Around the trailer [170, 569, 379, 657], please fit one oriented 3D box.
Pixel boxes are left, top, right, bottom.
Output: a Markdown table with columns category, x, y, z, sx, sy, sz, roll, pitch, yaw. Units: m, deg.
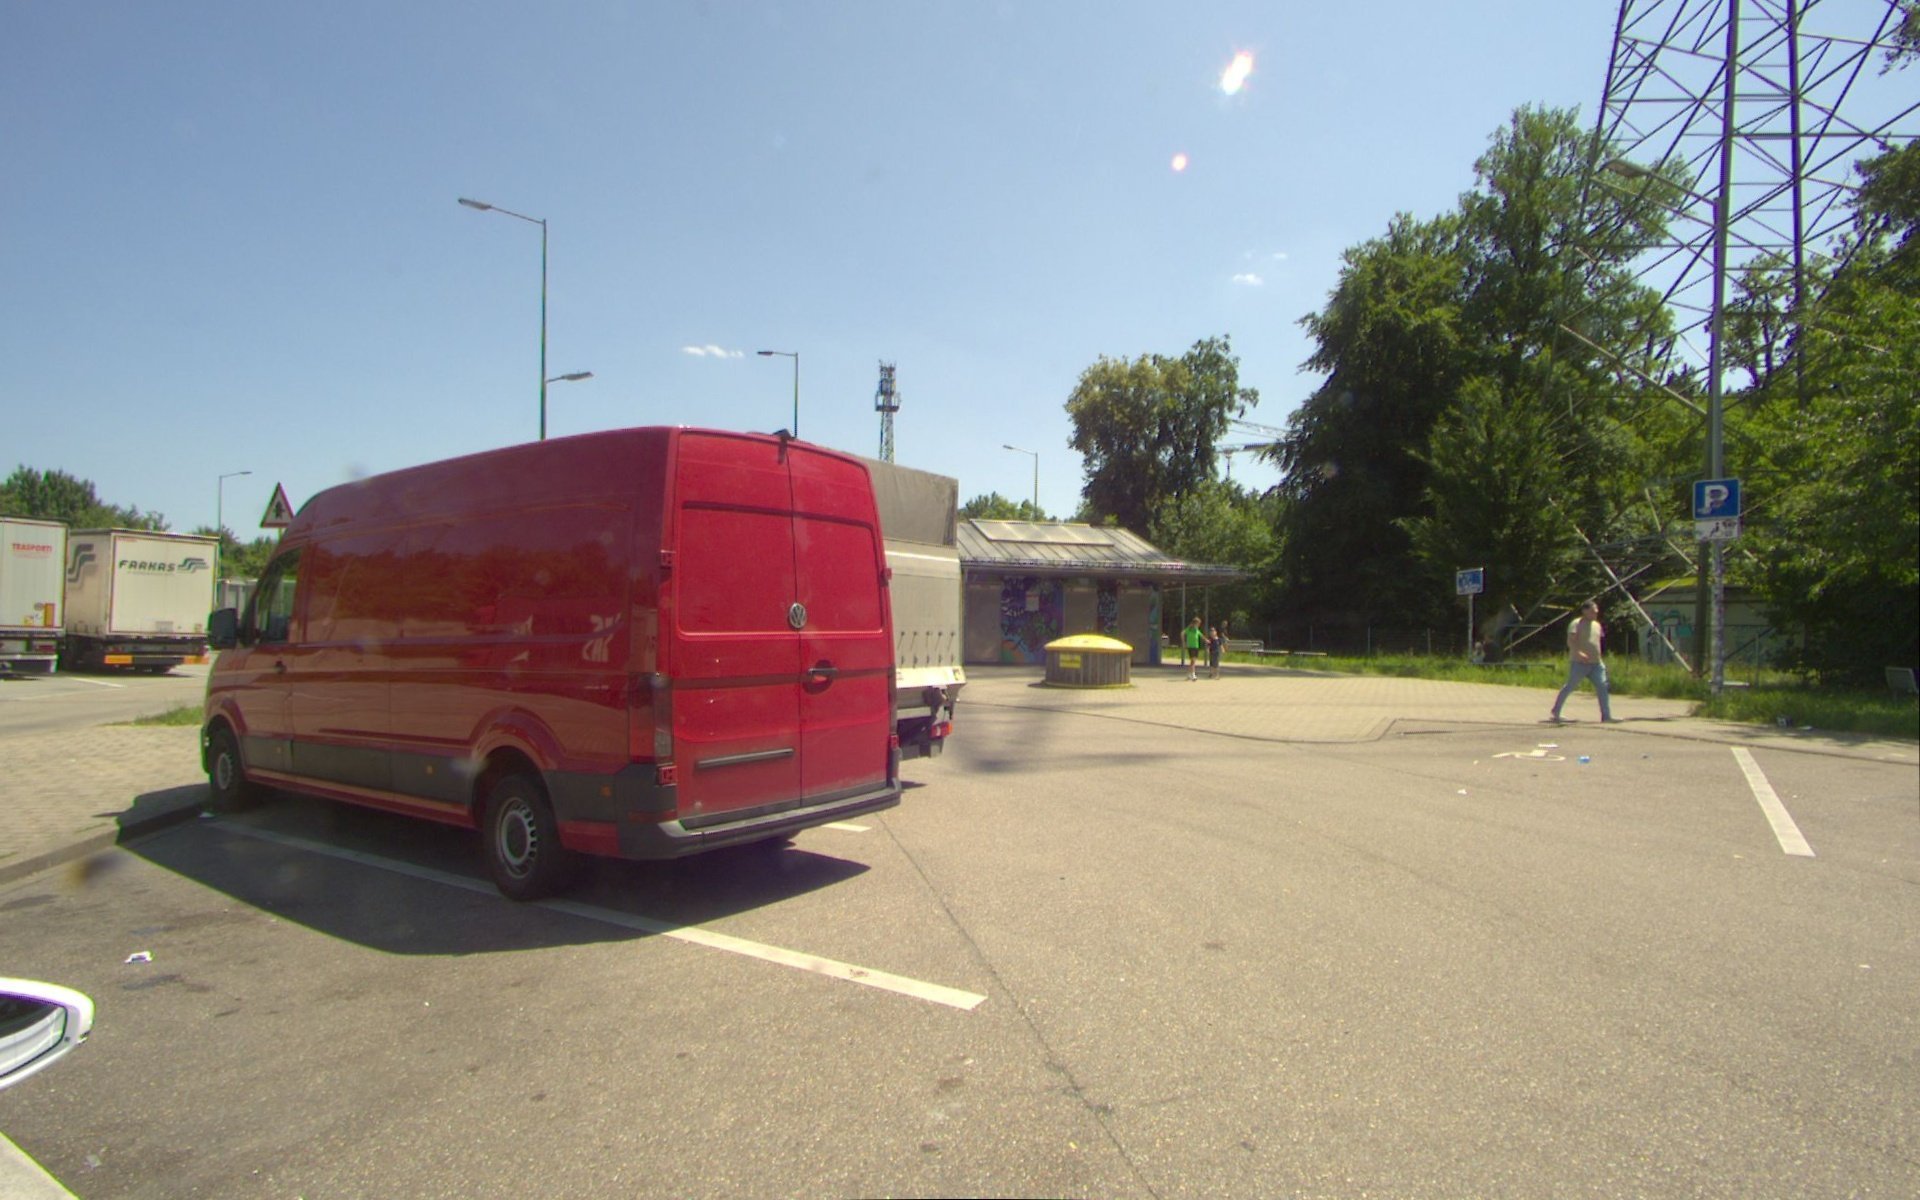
| category | x | y | z | sx | sy | sz | roll | pitch | yaw |
| --- | --- | --- | --- | --- | --- | --- | --- | --- | --- |
| trailer | -32.491 | 0.493 | 47.089 | 13.561 | 3.646 | 2.854 | 1 | -2 | 32 |

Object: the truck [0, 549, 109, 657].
| category | x | y | z | sx | sy | sz | roll | pitch | yaw |
| --- | --- | --- | --- | --- | --- | --- | --- | --- | --- |
| truck | -32.480 | 0.104 | 34.666 | 5.887 | 3.406 | 2.862 | 1 | -2 | 32 |

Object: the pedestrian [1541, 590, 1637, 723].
| category | x | y | z | sx | sy | sz | roll | pitch | yaw |
| --- | --- | --- | --- | --- | --- | --- | --- | --- | --- |
| pedestrian | 9.485 | 0.842 | 15.124 | 0.799 | 1.929 | 0.920 | 0 | -1 | -15 |

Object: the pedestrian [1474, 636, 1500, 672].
| category | x | y | z | sx | sy | sz | roll | pitch | yaw |
| --- | --- | --- | --- | --- | --- | --- | --- | --- | --- |
| pedestrian | 14.636 | 1.496 | 27.824 | 0.439 | 0.987 | 0.460 | 0 | -1 | -19 |

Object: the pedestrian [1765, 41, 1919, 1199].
| category | x | y | z | sx | sy | sz | roll | pitch | yaw |
| --- | --- | --- | --- | --- | --- | --- | --- | --- | --- |
| pedestrian | 1.013 | 0.546 | 0.422 | 0.800 | 1.929 | 0.918 | -1 | -1 | 23 |

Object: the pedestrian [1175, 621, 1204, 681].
| category | x | y | z | sx | sy | sz | roll | pitch | yaw |
| --- | --- | --- | --- | --- | --- | --- | --- | --- | --- |
| pedestrian | 5.394 | 1.190 | 23.568 | 0.532 | 1.392 | 0.583 | 0 | -1 | 0 |

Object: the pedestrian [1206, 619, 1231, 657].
| category | x | y | z | sx | sy | sz | roll | pitch | yaw |
| --- | --- | --- | --- | --- | --- | --- | --- | --- | --- |
| pedestrian | 11.293 | 1.644 | 43.700 | 0.803 | 1.639 | 0.916 | -1 | -2 | 34 |

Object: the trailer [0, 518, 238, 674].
| category | x | y | z | sx | sy | sz | roll | pitch | yaw |
| --- | --- | --- | --- | --- | --- | --- | --- | --- | --- |
| trailer | -27.623 | -0.162 | 31.601 | 13.561 | 4.162 | 2.854 | 1 | -2 | 32 |

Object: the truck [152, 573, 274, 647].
| category | x | y | z | sx | sy | sz | roll | pitch | yaw |
| --- | --- | --- | --- | --- | --- | --- | --- | --- | --- |
| truck | -37.564 | 0.484 | 50.310 | 5.887 | 3.406 | 2.862 | 1 | -2 | 32 |

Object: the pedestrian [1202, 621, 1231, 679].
| category | x | y | z | sx | sy | sz | roll | pitch | yaw |
| --- | --- | --- | --- | --- | --- | --- | --- | --- | --- |
| pedestrian | 6.192 | 1.210 | 24.190 | 0.532 | 1.392 | 0.583 | 0 | -1 | 0 |

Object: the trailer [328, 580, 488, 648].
| category | x | y | z | sx | sy | sz | roll | pitch | yaw |
| --- | --- | --- | --- | --- | --- | --- | --- | --- | --- |
| trailer | -36.190 | 0.857 | 65.326 | 13.561 | 3.955 | 2.854 | 1 | -2 | 32 |

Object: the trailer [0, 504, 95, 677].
| category | x | y | z | sx | sy | sz | roll | pitch | yaw |
| --- | --- | --- | --- | --- | --- | --- | --- | --- | --- |
| trailer | -28.695 | -0.336 | 28.013 | 13.561 | 4.162 | 2.854 | 1 | -2 | 32 |

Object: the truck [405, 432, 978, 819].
| category | x | y | z | sx | sy | sz | roll | pitch | yaw |
| --- | --- | --- | --- | --- | --- | --- | --- | --- | --- |
| truck | -3.088 | 0.275 | 10.522 | 6.371 | 2.944 | 2.411 | -1 | -2 | 37 |

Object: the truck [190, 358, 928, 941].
| category | x | y | z | sx | sy | sz | roll | pitch | yaw |
| --- | --- | --- | --- | --- | --- | --- | --- | --- | --- |
| truck | -3.337 | 0.303 | 7.338 | 6.371 | 2.685 | 2.005 | -1 | -2 | 37 |
